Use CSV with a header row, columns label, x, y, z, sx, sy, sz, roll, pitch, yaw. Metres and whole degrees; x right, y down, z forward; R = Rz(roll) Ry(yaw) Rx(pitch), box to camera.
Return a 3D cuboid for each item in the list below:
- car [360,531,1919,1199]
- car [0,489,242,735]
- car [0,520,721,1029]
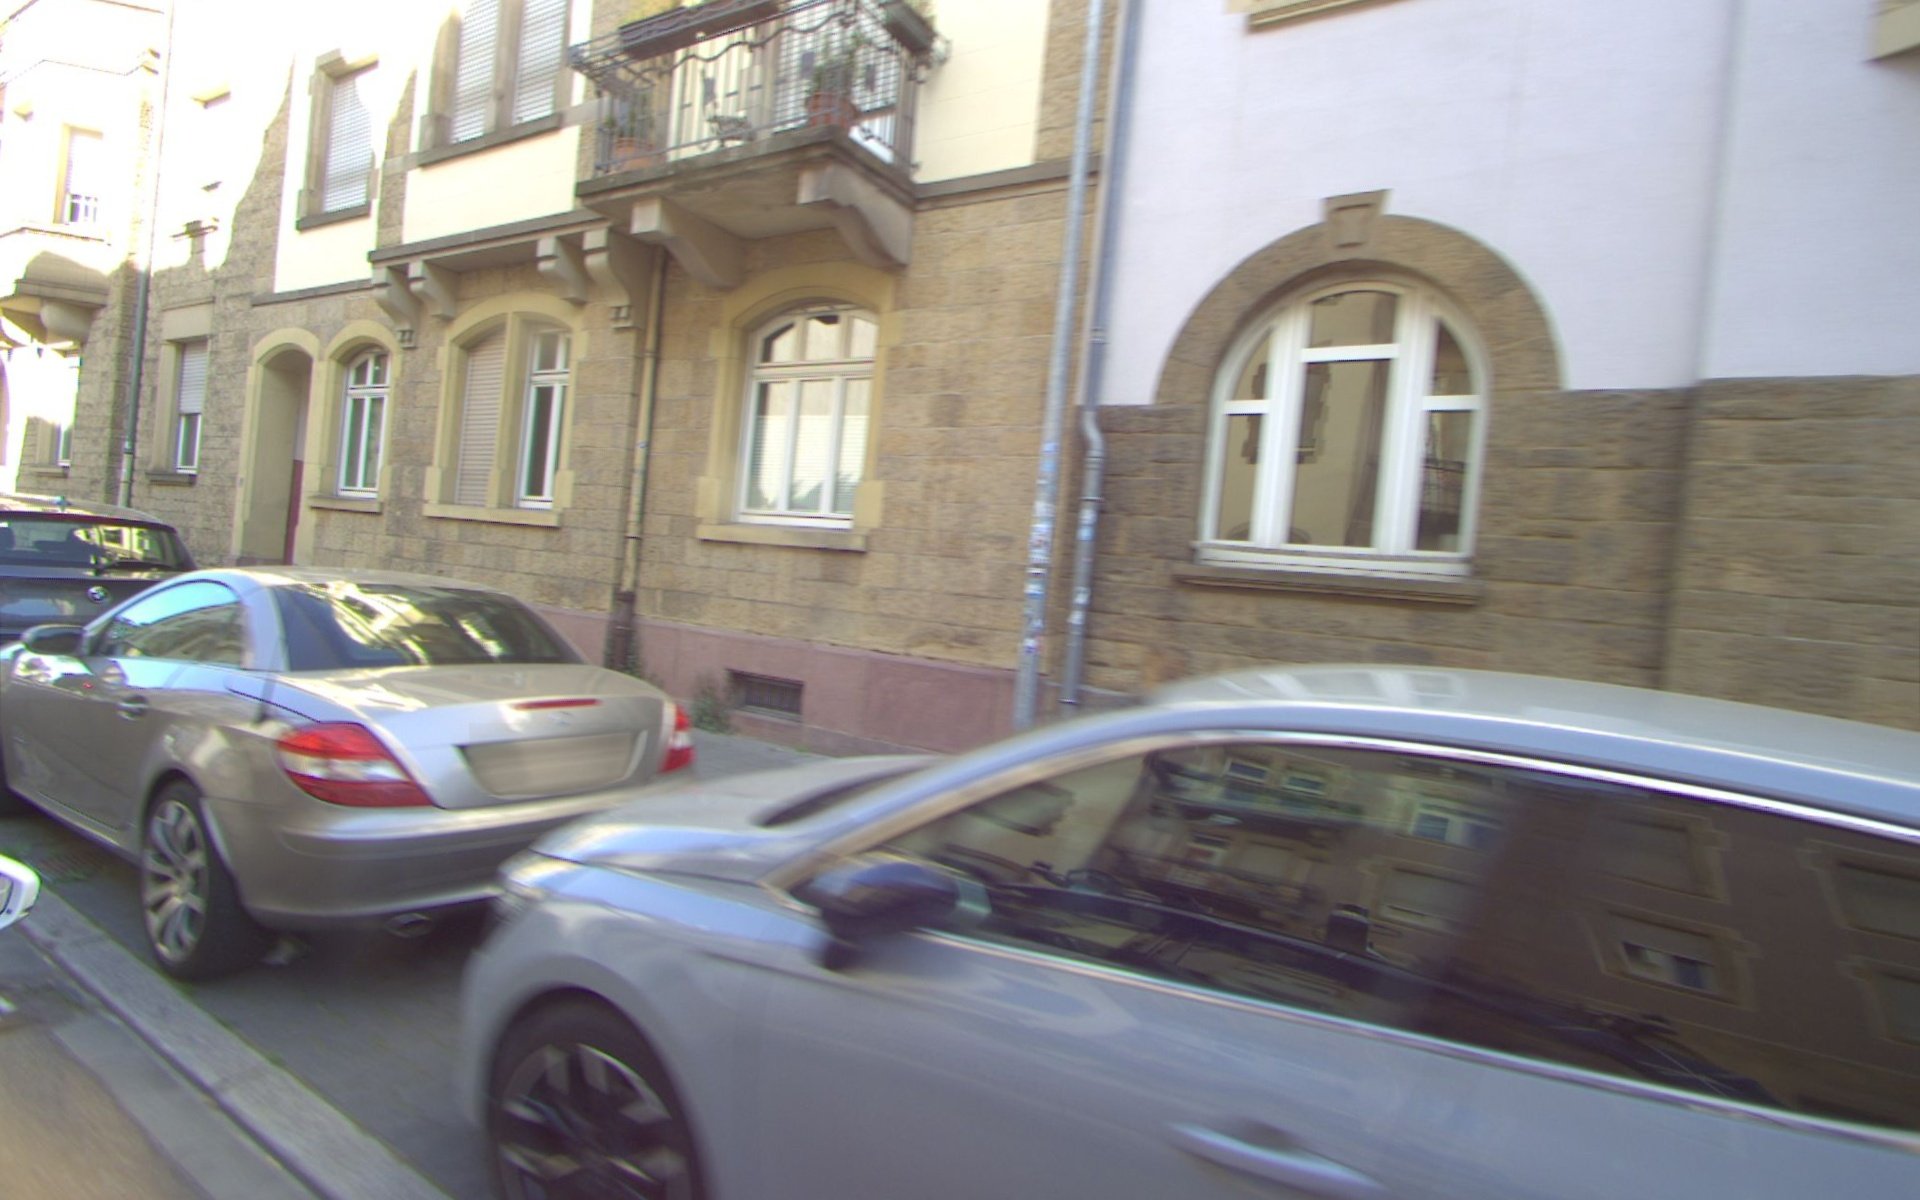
label,x,y,z,sx,sy,sz,roll,pitch,yaw
car,0.705,0.801,2.213,3.743,1.447,1.789,7,0,30
car,-7.238,-0.103,7.414,4.188,1.461,1.652,7,1,32
car,-3.116,0.437,4.602,3.878,1.270,1.693,7,1,34
